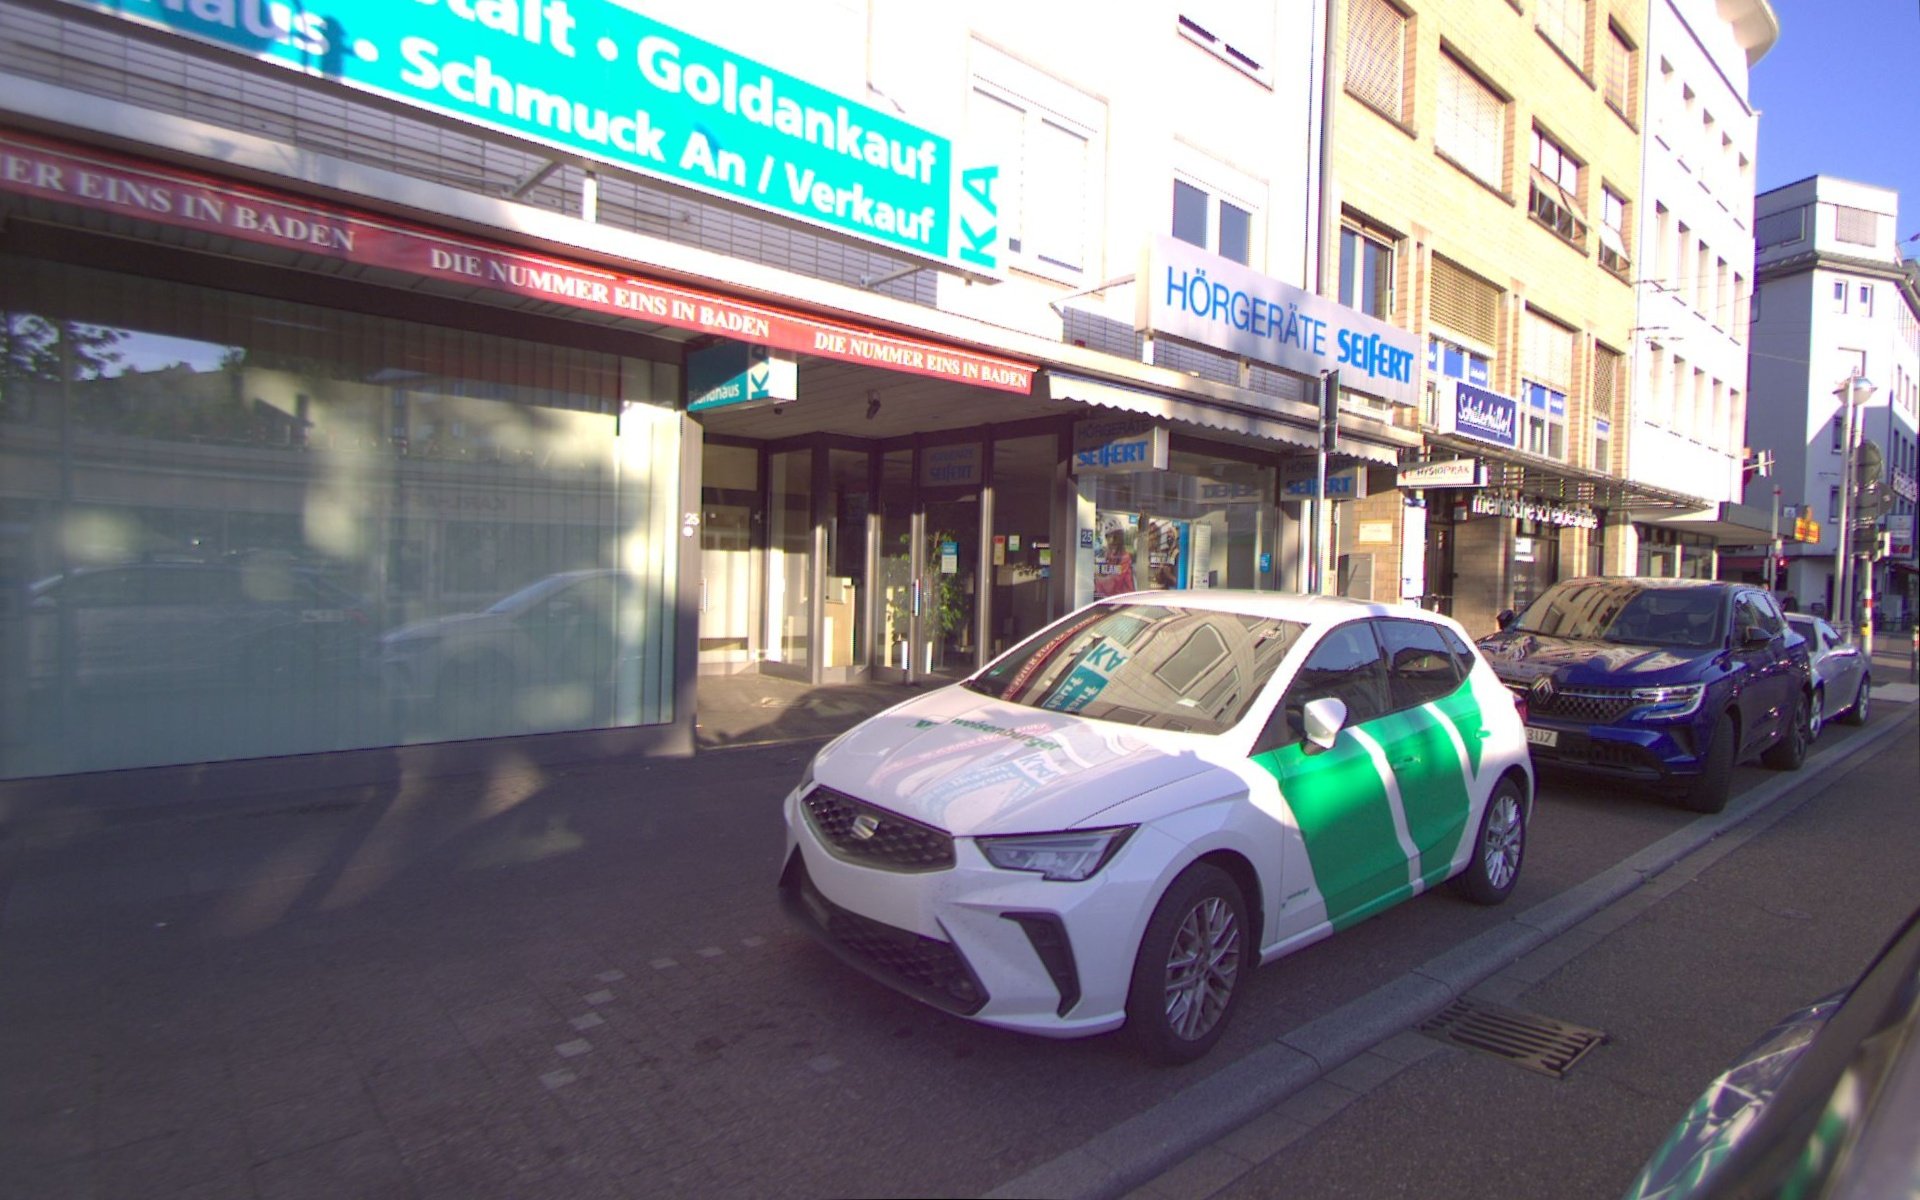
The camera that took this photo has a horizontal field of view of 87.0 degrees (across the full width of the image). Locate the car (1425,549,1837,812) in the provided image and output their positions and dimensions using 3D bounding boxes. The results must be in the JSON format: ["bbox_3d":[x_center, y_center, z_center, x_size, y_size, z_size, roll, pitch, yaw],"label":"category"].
[{"bbox_3d":[5.672,0.466,8.332,4.213,1.625,1.768,0,2,-41],"label":"car"}]

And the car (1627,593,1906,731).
[{"bbox_3d":[9.557,0.598,11.893,3.989,1.298,1.678,0,2,-38],"label":"car"}]

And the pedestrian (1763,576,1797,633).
[{"bbox_3d":[26.133,0.132,32.261,0.747,1.795,0.578,3,2,42],"label":"pedestrian"}]

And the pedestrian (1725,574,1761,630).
[{"bbox_3d":[25.665,0.072,33.164,0.627,1.795,0.749,1,1,-37],"label":"pedestrian"}]

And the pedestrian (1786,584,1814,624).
[{"bbox_3d":[35.409,0.162,42.674,0.577,1.676,0.798,0,2,-44],"label":"pedestrian"}]

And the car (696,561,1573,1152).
[{"bbox_3d":[1.087,0.567,4.534,4.082,1.452,1.733,-2,3,-42],"label":"car"}]
